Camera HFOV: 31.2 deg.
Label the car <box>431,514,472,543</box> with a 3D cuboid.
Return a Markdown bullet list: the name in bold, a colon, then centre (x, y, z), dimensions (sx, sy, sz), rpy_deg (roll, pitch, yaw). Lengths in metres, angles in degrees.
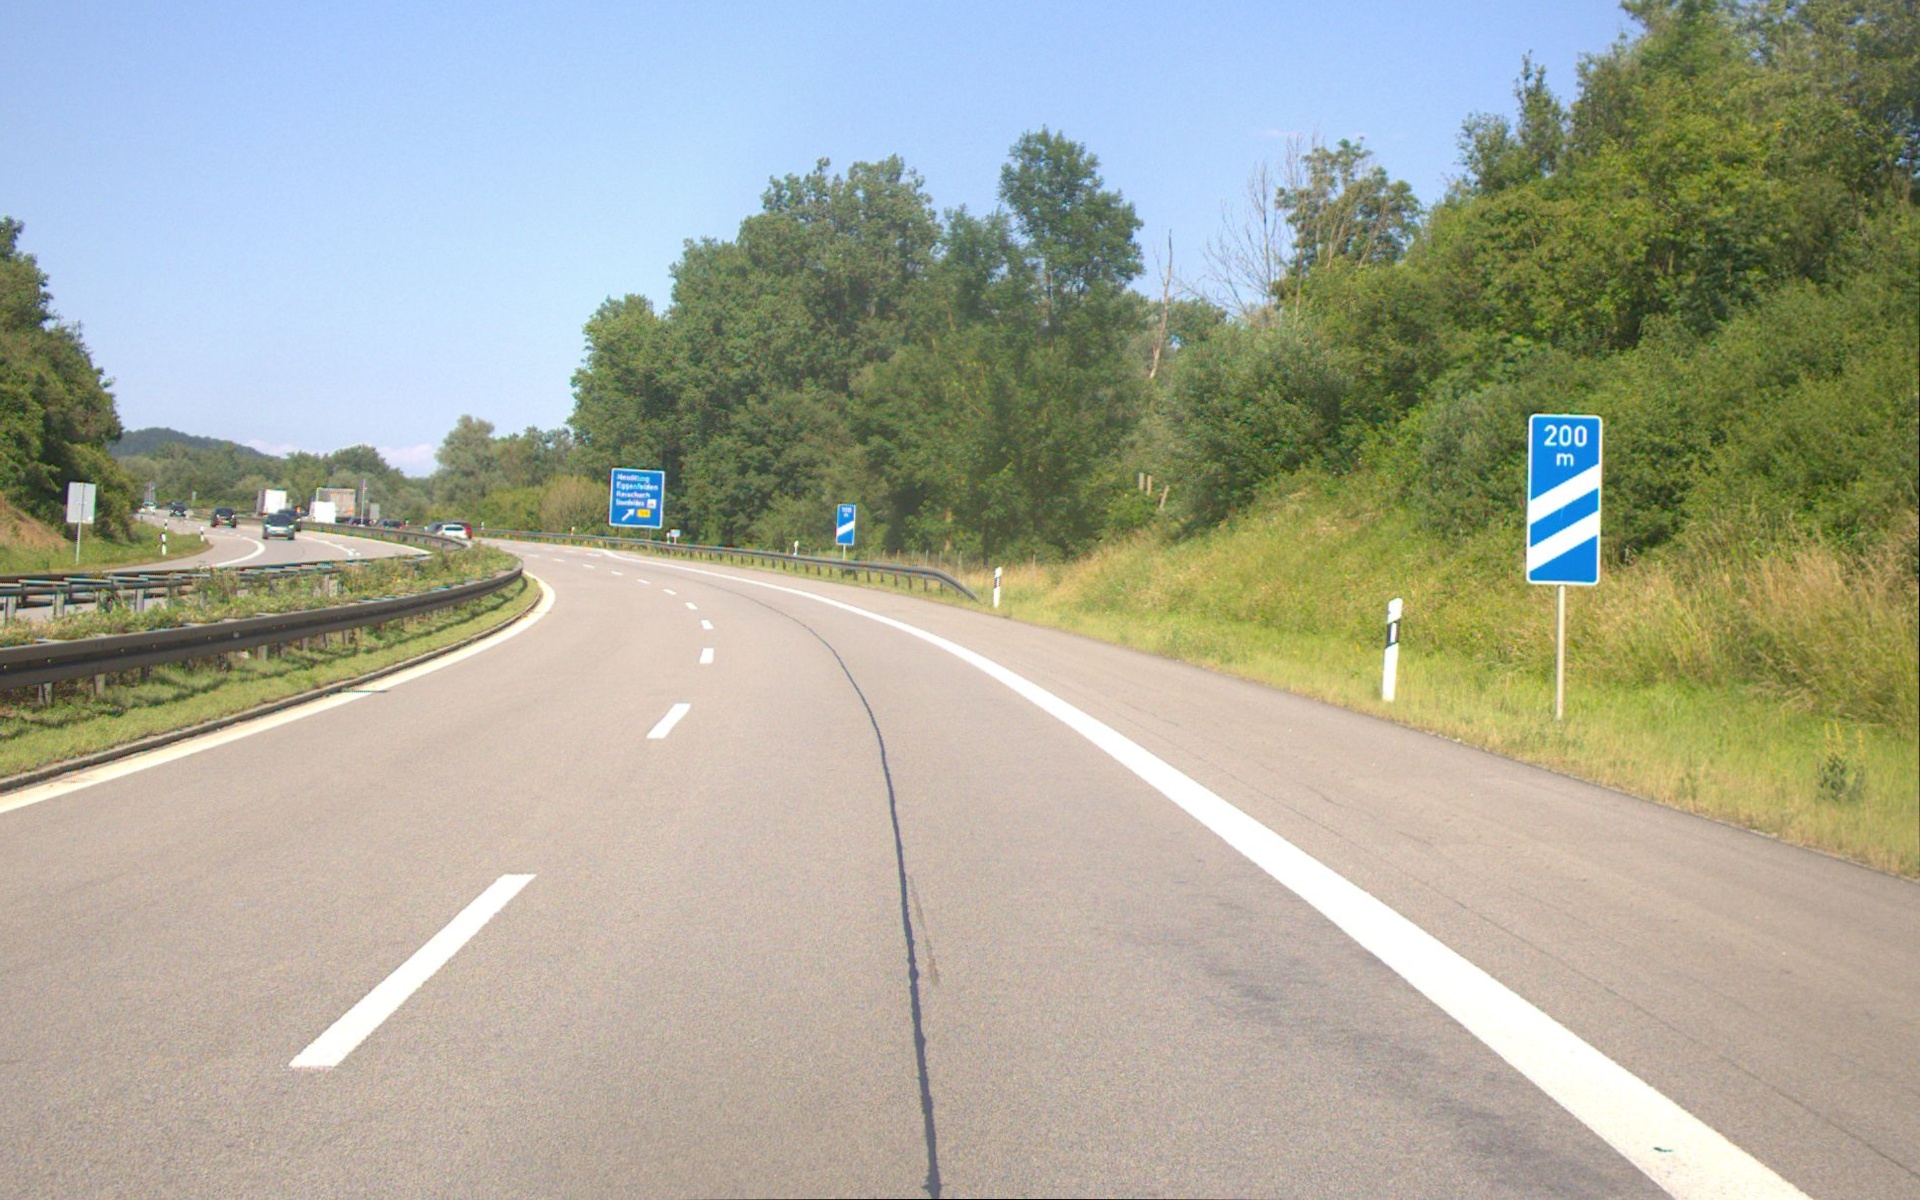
- **car**: centre (-31.813, -4.467, 215.008), dimensions (2.061, 1.619, 4.001), rpy_deg (2, -1, -14)

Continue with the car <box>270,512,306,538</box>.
- **car**: centre (-40.216, -4.474, 205.748), dimensions (1.819, 1.475, 4.686), rpy_deg (1, 1, -8)
